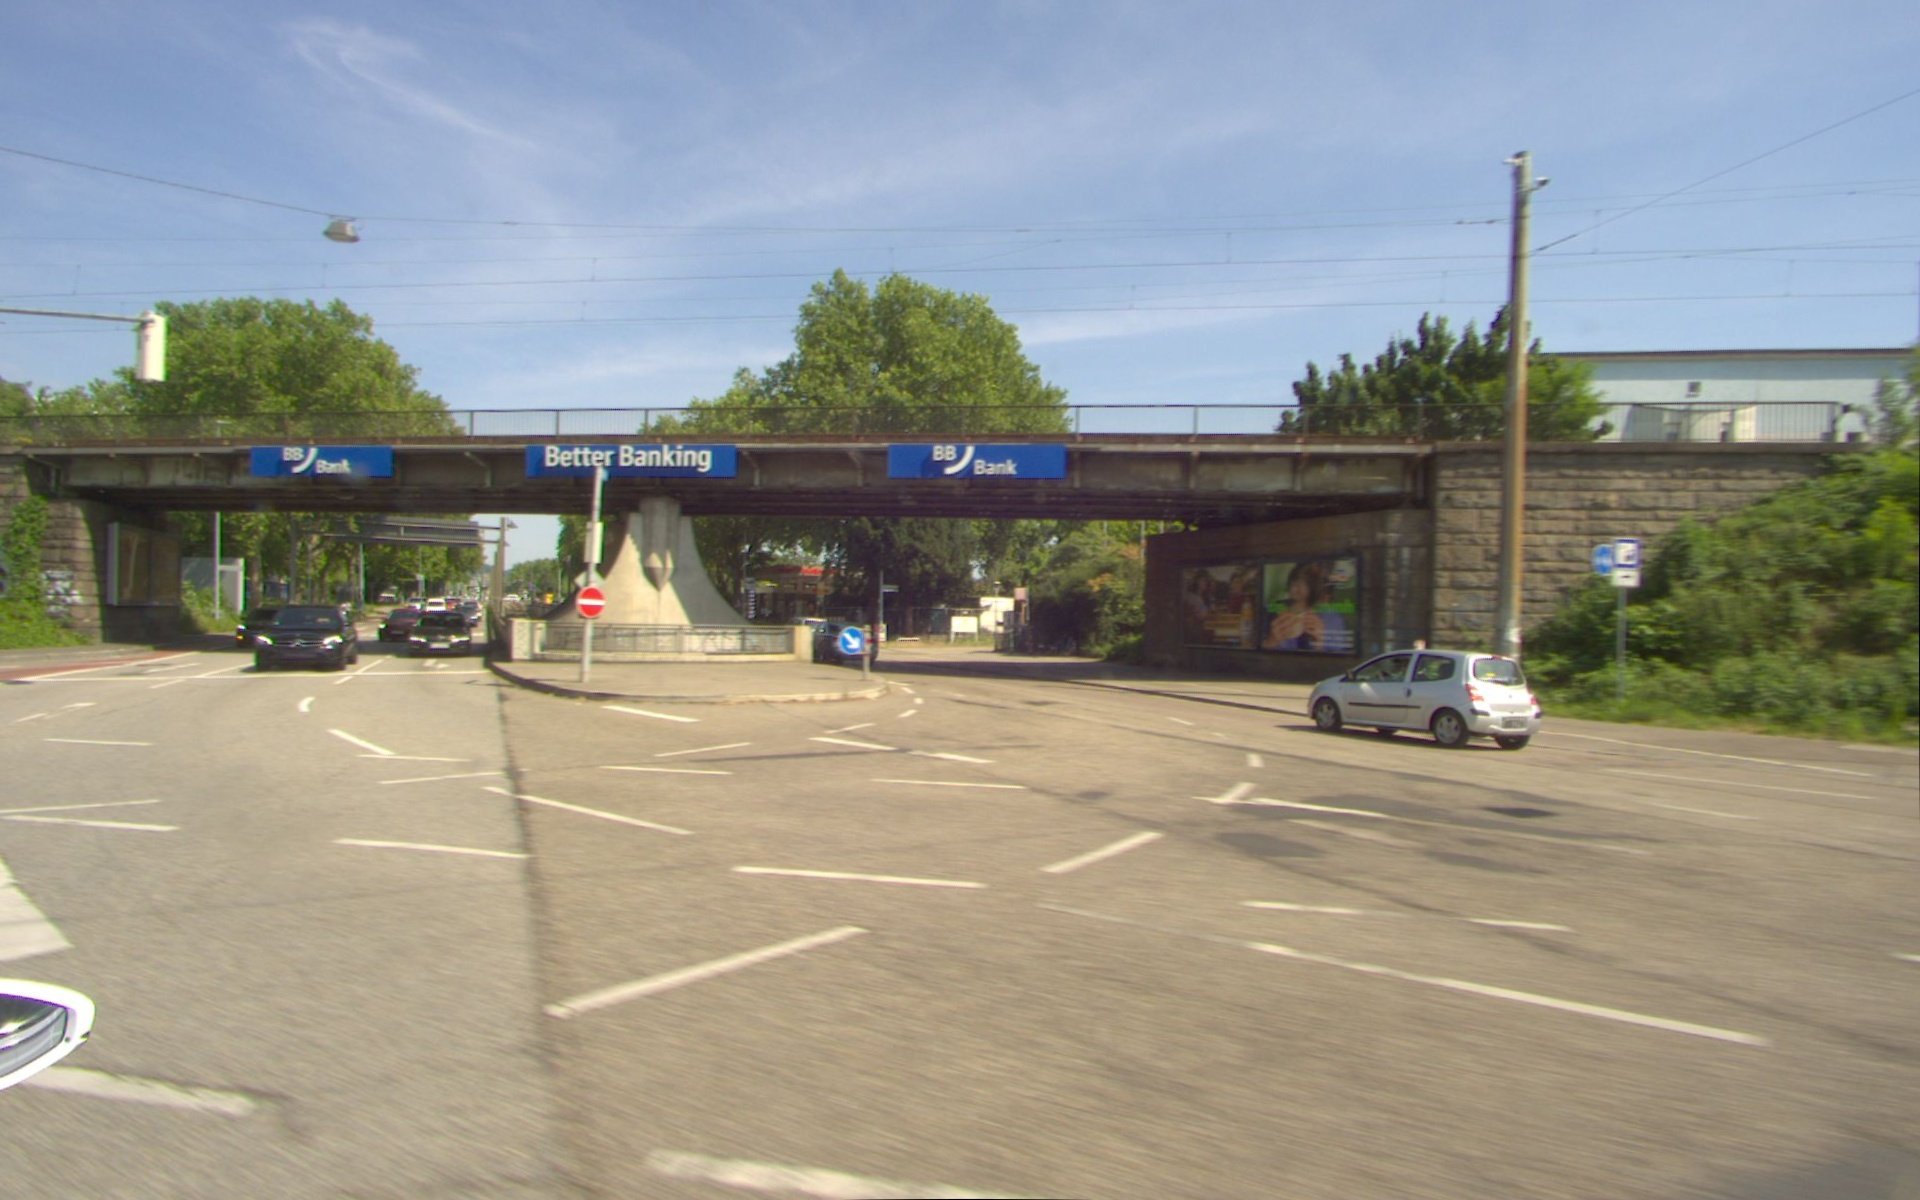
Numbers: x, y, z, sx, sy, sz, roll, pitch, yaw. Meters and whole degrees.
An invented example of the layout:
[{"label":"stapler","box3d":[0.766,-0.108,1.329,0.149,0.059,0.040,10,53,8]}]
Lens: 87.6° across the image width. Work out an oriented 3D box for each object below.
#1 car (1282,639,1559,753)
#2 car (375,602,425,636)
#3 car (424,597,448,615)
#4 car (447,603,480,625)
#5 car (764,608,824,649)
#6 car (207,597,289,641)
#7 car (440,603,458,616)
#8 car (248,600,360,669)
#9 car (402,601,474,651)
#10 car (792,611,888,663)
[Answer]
[{"label":"car","box3d":[7.291,1.471,16.265,1.690,1.469,3.877,3,-1,-25]},{"label":"car","box3d":[-25.107,0.836,44.964,1.682,1.438,3.983,2,-1,-26]},{"label":"car","box3d":[-51.361,0.598,98.206,1.775,1.739,3.985,1,-1,-25]},{"label":"car","box3d":[-34.208,0.945,69.086,1.665,1.461,3.988,2,-1,-22]},{"label":"car","box3d":[-7.906,1.306,47.355,1.886,1.792,3.987,2,-1,-23]},{"label":"car","box3d":[-26.526,0.700,37.446,1.800,1.526,4.198,2,-1,-26]},{"label":"car","box3d":[-62.197,1.136,121.917,1.668,1.441,3.984,4,-1,-24]},{"label":"car","box3d":[-16.791,0.812,25.831,1.970,1.617,4.424,1,0,-28]},{"label":"car","box3d":[-16.585,0.801,31.965,1.665,1.461,3.987,2,-1,-23]},{"label":"car","box3d":[-4.237,1.235,34.724,1.969,1.527,4.466,4,-1,-24]}]
